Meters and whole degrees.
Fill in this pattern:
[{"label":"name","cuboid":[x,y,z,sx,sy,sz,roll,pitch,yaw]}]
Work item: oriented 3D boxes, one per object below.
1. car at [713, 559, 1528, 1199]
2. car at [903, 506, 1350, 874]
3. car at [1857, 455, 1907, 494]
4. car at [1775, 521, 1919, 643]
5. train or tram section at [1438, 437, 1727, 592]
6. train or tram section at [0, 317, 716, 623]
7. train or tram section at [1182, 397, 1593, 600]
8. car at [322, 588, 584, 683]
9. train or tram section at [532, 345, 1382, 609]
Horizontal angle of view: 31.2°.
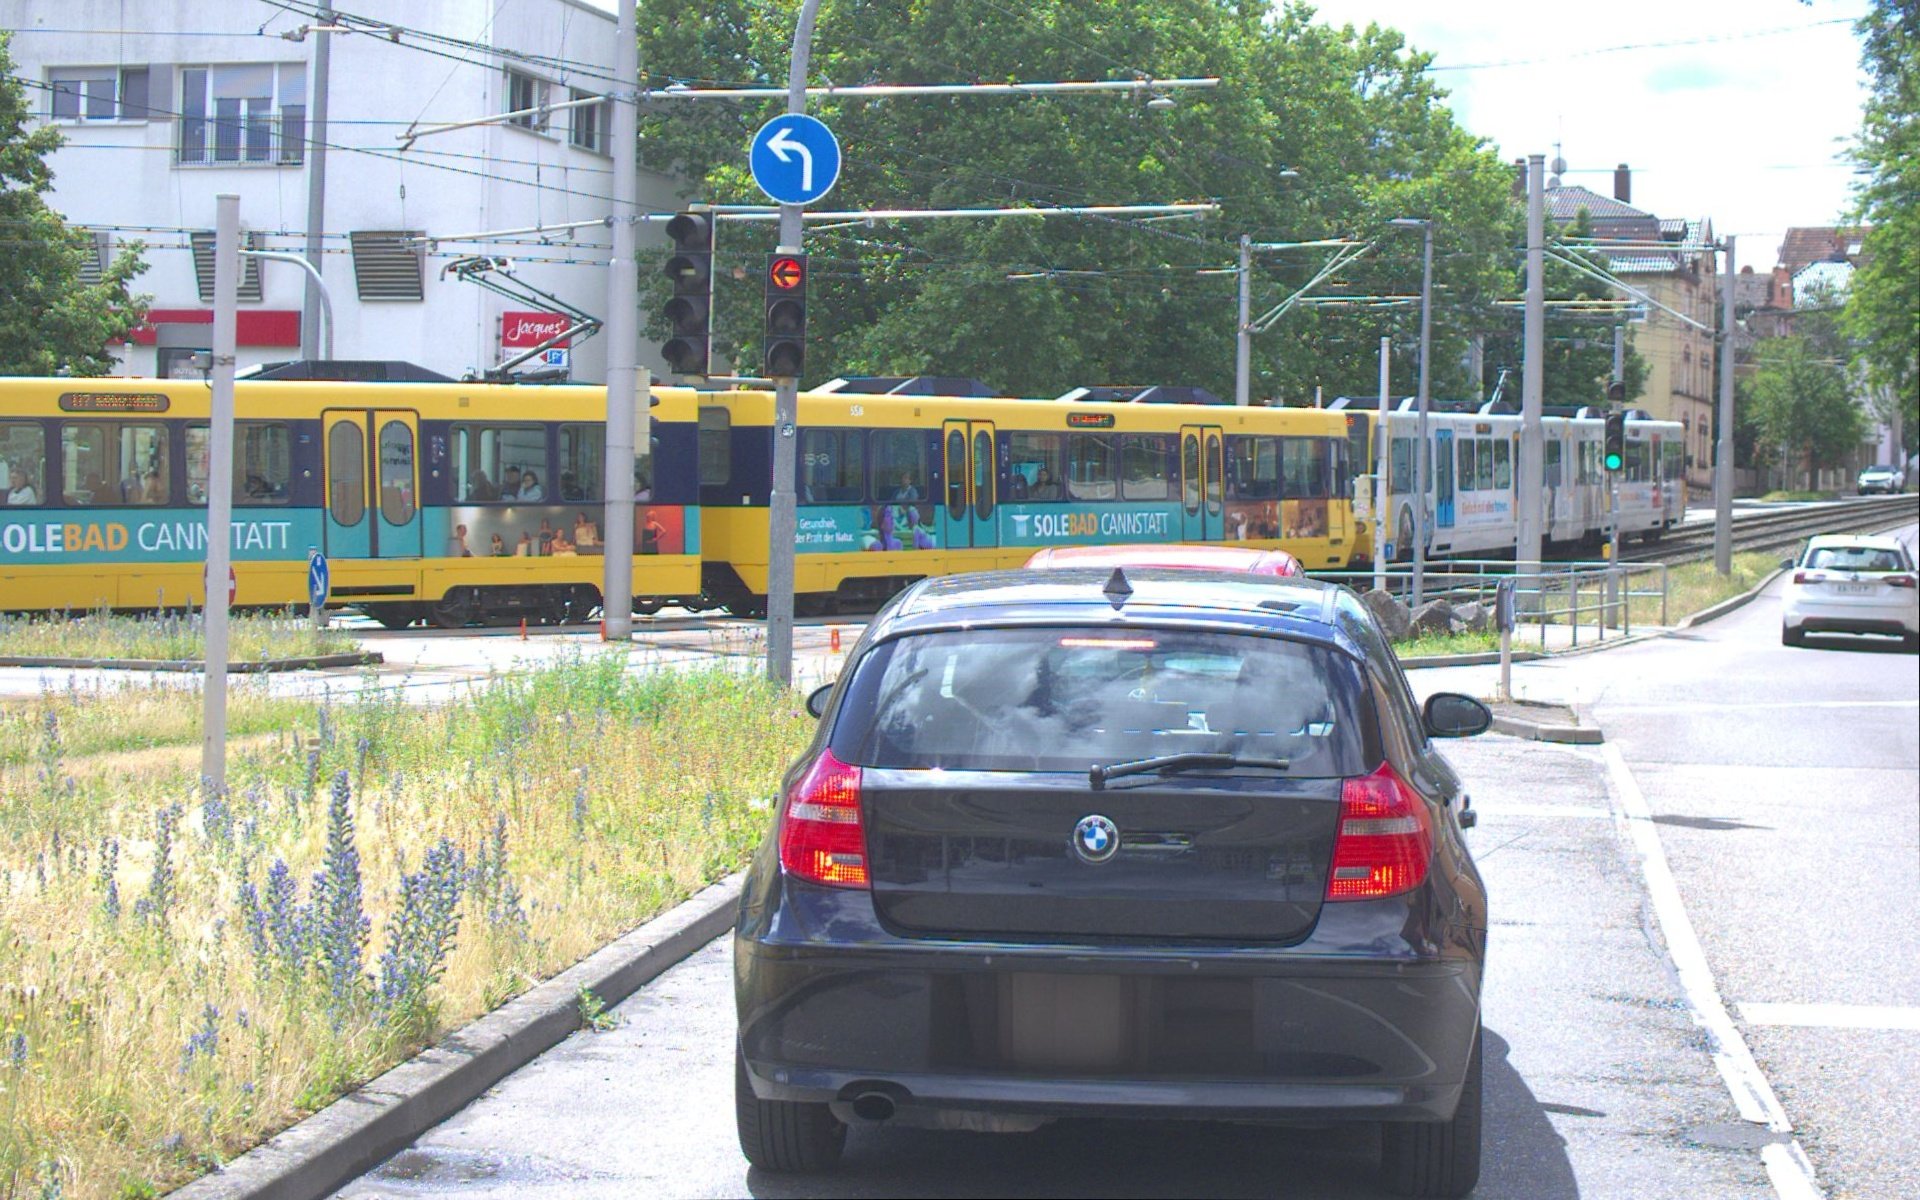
[{"label":"car","cuboid":[0.344,0.634,9.212,1.701,1.447,4.000,0,0,0]},{"label":"car","cuboid":[0.884,0.352,15.801,1.625,1.468,3.998,0,0,9]},{"label":"car","cuboid":[50.503,-6.875,188.254,1.996,2.007,3.995,0,0,24]},{"label":"car","cuboid":[11.932,-0.279,46.139,1.816,1.463,3.998,3,2,13]},{"label":"train or tram section","cuboid":[17.450,-2.161,94.414,3.753,3.801,20.028,0,0,22]},{"label":"train or tram section","cuboid":[-12.401,-1.662,46.046,18.836,3.905,3.761,-1,0,-34]},{"label":"train or tram section","cuboid":[9.975,-2.008,75.962,3.753,3.866,20.611,0,0,22]},{"label":"car","cuboid":[-8.817,0.590,59.971,4.157,1.579,1.858,-1,0,-41]},{"label":"train or tram section","cuboid":[0.841,-1.842,58.955,3.757,3.816,20.109,0,0,35]}]
